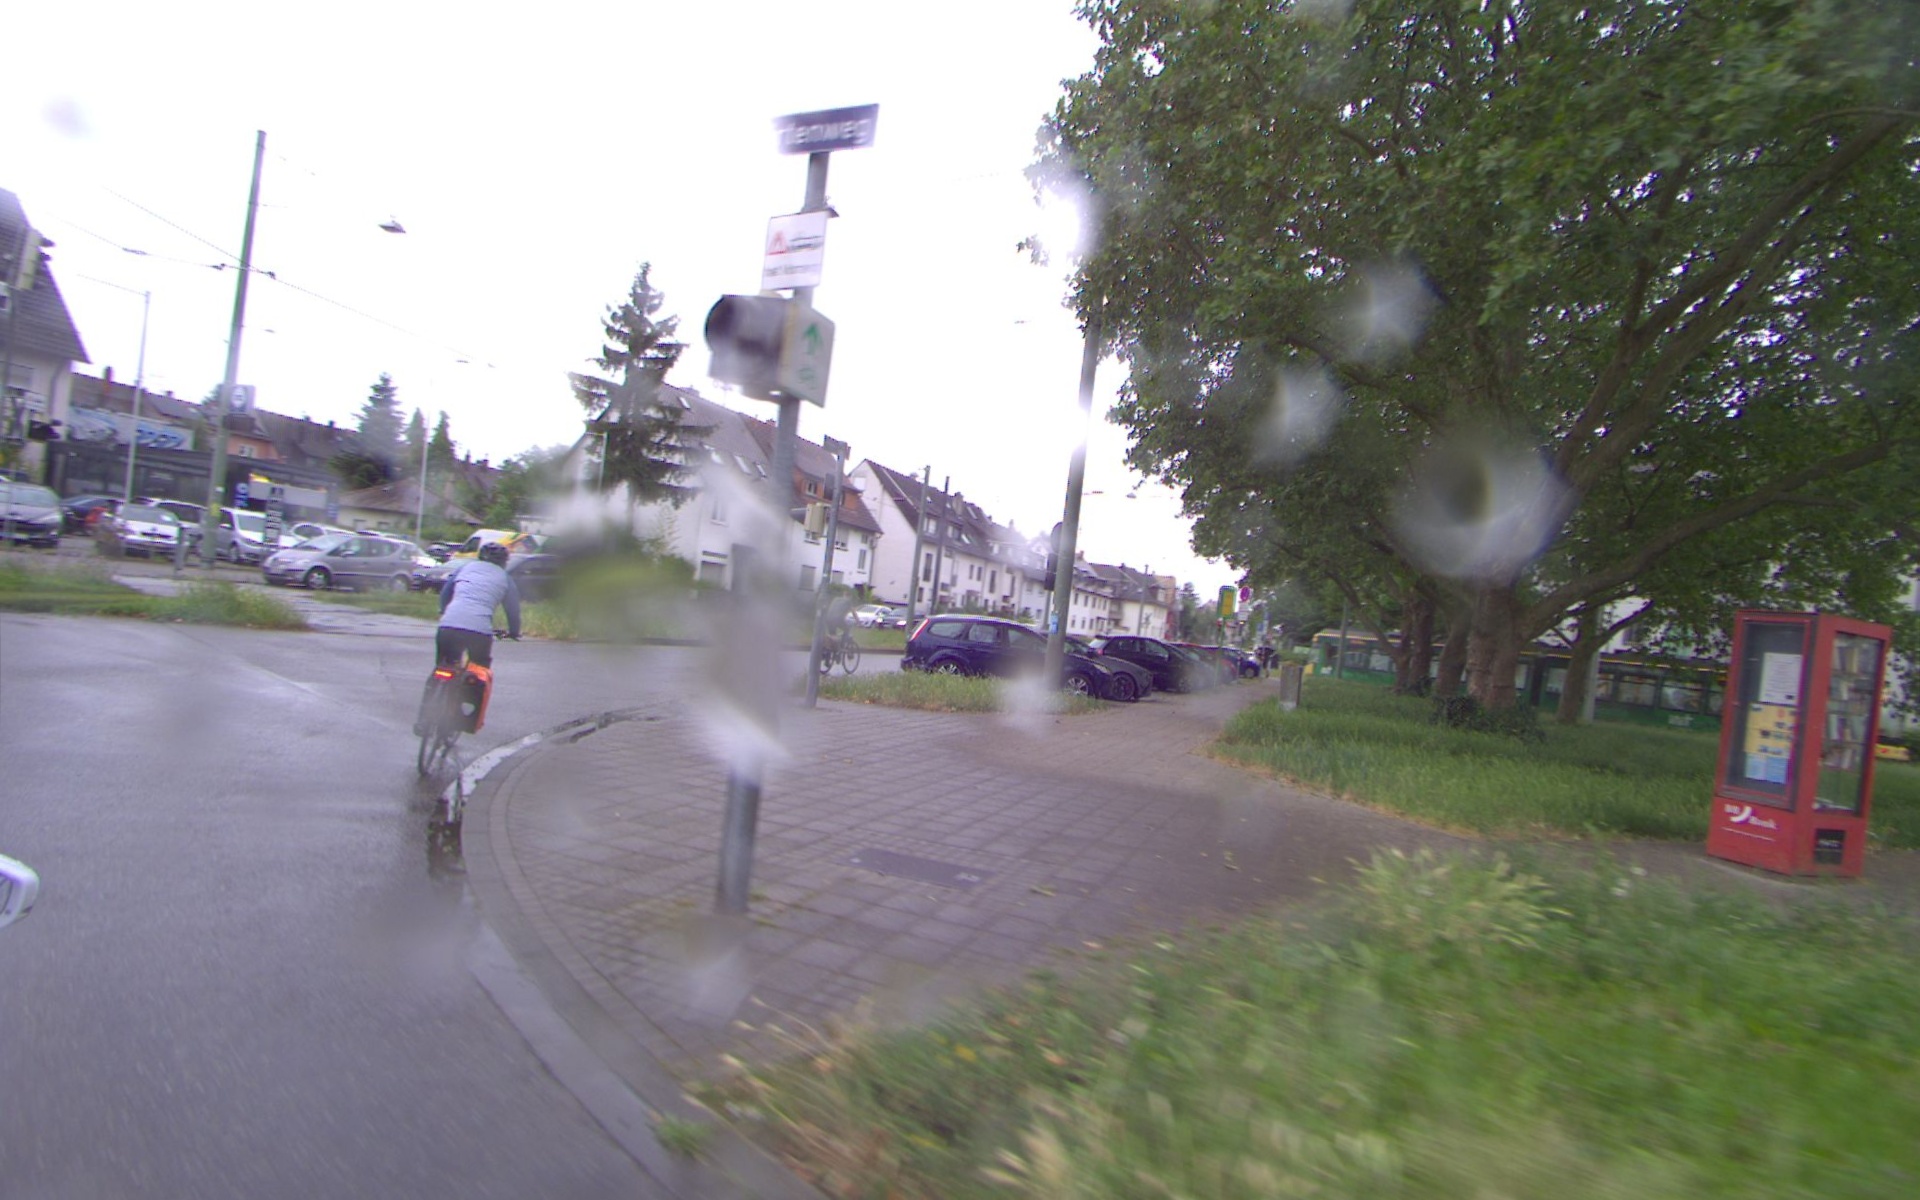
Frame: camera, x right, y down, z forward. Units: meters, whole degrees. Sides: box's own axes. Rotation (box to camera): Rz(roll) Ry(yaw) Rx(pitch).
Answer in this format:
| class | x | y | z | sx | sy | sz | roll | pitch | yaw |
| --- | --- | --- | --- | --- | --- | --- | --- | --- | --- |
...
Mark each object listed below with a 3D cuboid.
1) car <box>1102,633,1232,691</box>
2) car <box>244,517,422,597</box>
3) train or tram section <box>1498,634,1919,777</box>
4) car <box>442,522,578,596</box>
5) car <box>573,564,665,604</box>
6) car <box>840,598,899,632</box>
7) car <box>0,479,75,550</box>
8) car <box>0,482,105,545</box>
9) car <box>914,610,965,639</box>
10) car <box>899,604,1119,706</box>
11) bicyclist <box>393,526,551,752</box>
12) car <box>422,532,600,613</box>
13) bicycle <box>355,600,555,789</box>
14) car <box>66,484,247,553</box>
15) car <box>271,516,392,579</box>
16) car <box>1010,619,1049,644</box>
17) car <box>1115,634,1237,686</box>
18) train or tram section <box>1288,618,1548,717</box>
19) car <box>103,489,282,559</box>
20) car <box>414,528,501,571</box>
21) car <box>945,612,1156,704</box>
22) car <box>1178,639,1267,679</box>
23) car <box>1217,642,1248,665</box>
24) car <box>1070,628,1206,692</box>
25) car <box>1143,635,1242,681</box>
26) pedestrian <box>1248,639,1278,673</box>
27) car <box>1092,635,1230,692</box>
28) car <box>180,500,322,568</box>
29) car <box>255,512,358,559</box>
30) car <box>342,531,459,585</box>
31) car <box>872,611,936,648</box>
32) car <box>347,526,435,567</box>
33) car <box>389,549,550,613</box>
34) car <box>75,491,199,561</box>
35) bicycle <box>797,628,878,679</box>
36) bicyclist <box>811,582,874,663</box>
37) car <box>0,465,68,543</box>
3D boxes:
| class | x | y | z | sx | sy | sz | roll | pitch | yaw |
| --- | --- | --- | --- | --- | --- | --- | --- | --- | --- |
| car | 7.238 | 2.159 | 35.339 | 3.935 | 1.571 | 1.957 | 6 | -2 | -13 |
| car | -16.882 | -1.110 | 27.266 | 1.691 | 1.521 | 3.646 | 7 | -3 | 23 |
| train or tram section | 29.202 | 3.822 | 40.541 | 2.679 | 3.631 | 14.665 | 8 | -1 | -21 |
| car | -19.218 | -1.745 | 43.007 | 5.054 | 2.433 | 2.154 | 7 | -2 | 21 |
| car | -16.100 | -0.738 | 47.705 | 1.963 | 1.586 | 3.889 | 7 | 3 | 21 |
| car | -5.096 | 0.876 | 56.985 | 1.576 | 1.439 | 3.947 | 7 | -3 | 22 |
| car | -24.275 | -2.221 | 26.003 | 1.821 | 1.521 | 4.014 | 10 | -3 | -40 |
| car | -31.307 | -2.977 | 33.007 | 1.964 | 1.708 | 4.445 | 6 | -1 | 24 |
| car | -1.318 | 1.669 | 66.795 | 1.576 | 1.439 | 4.671 | 7 | -3 | 22 |
| car | 0.936 | 1.102 | 20.556 | 4.106 | 1.494 | 1.801 | 7 | 0 | -8 |
| bicyclist | -3.554 | 0.268 | 7.403 | 0.741 | 1.504 | 0.844 | 6 | 1 | -12 |
| car | -12.876 | -0.716 | 29.212 | 1.963 | 1.623 | 4.578 | 7 | -3 | 20 |
| bicycle | -3.576 | 0.611 | 7.329 | 0.743 | 1.086 | 1.922 | 6 | 1 | -12 |
| car | -27.878 | -2.789 | 35.081 | 1.964 | 1.708 | 4.445 | 6 | -1 | 24 |
| car | -21.494 | -1.798 | 34.399 | 3.552 | 1.591 | 1.723 | 7 | -2 | 25 |
| car | 5.181 | 2.344 | 74.545 | 1.576 | 1.439 | 3.823 | 7 | -3 | 22 |
| car | 8.195 | 2.264 | 38.329 | 4.052 | 1.498 | 1.863 | 6 | 0 | -10 |
| train or tram section | 23.845 | 3.337 | 54.176 | 2.679 | 3.631 | 14.665 | 8 | -1 | -21 |
| car | -25.746 | -2.501 | 33.945 | 1.728 | 1.708 | 4.445 | 6 | -1 | 24 |
| car | -24.190 | -2.383 | 48.614 | 1.830 | 1.599 | 4.400 | 6 | -1 | 0 |
| car | 2.032 | 1.318 | 23.280 | 4.471 | 1.494 | 1.802 | 7 | 0 | -7 |
| car | 13.672 | 3.068 | 52.495 | 3.932 | 1.502 | 1.996 | 7 | 1 | -10 |
| car | 22.179 | 4.394 | 81.839 | 1.925 | 1.571 | 4.002 | 5 | -2 | 21 |
| car | 5.210 | 1.758 | 29.631 | 3.460 | 1.524 | 1.751 | 6 | -1 | -14 |
| car | 9.548 | 2.381 | 41.432 | 3.534 | 1.498 | 1.637 | 6 | 0 | -4 |
| pedestrian | 16.726 | 3.098 | 55.509 | 1.031 | 1.735 | 1.078 | 6 | 0 | -13 |
| car | 6.525 | 2.056 | 32.703 | 3.936 | 1.519 | 1.819 | 4 | -1 | -16 |
| car | -22.200 | -2.059 | 31.508 | 3.801 | 1.598 | 1.806 | 7 | 1 | 23 |
| car | -29.968 | -2.967 | 46.143 | 3.925 | 1.515 | 1.789 | 7 | -2 | 19 |
| car | -20.513 | -1.555 | 36.865 | 3.773 | 1.412 | 1.723 | 7 | -2 | 25 |
| car | -2.968 | 1.631 | 53.874 | 1.710 | 1.502 | 4.003 | 7 | -3 | 23 |
| car | -28.782 | -2.656 | 51.067 | 1.760 | 1.599 | 4.447 | 6 | -1 | 0 |
| car | -15.206 | -0.545 | 31.463 | 1.691 | 1.353 | 4.392 | 7 | -3 | 23 |
| car | -23.278 | -2.110 | 28.422 | 3.999 | 1.521 | 1.828 | 6 | -3 | 39 |
| bicycle | -2.523 | 1.135 | 20.955 | 0.808 | 0.923 | 1.987 | 6 | -2 | 19 |
| bicyclist | -2.444 | 0.484 | 20.964 | 0.818 | 1.576 | 0.914 | 6 | -1 | 19 |
| car | -28.275 | -2.926 | 28.131 | 1.964 | 2.038 | 4.445 | 6 | -1 | 24 |
